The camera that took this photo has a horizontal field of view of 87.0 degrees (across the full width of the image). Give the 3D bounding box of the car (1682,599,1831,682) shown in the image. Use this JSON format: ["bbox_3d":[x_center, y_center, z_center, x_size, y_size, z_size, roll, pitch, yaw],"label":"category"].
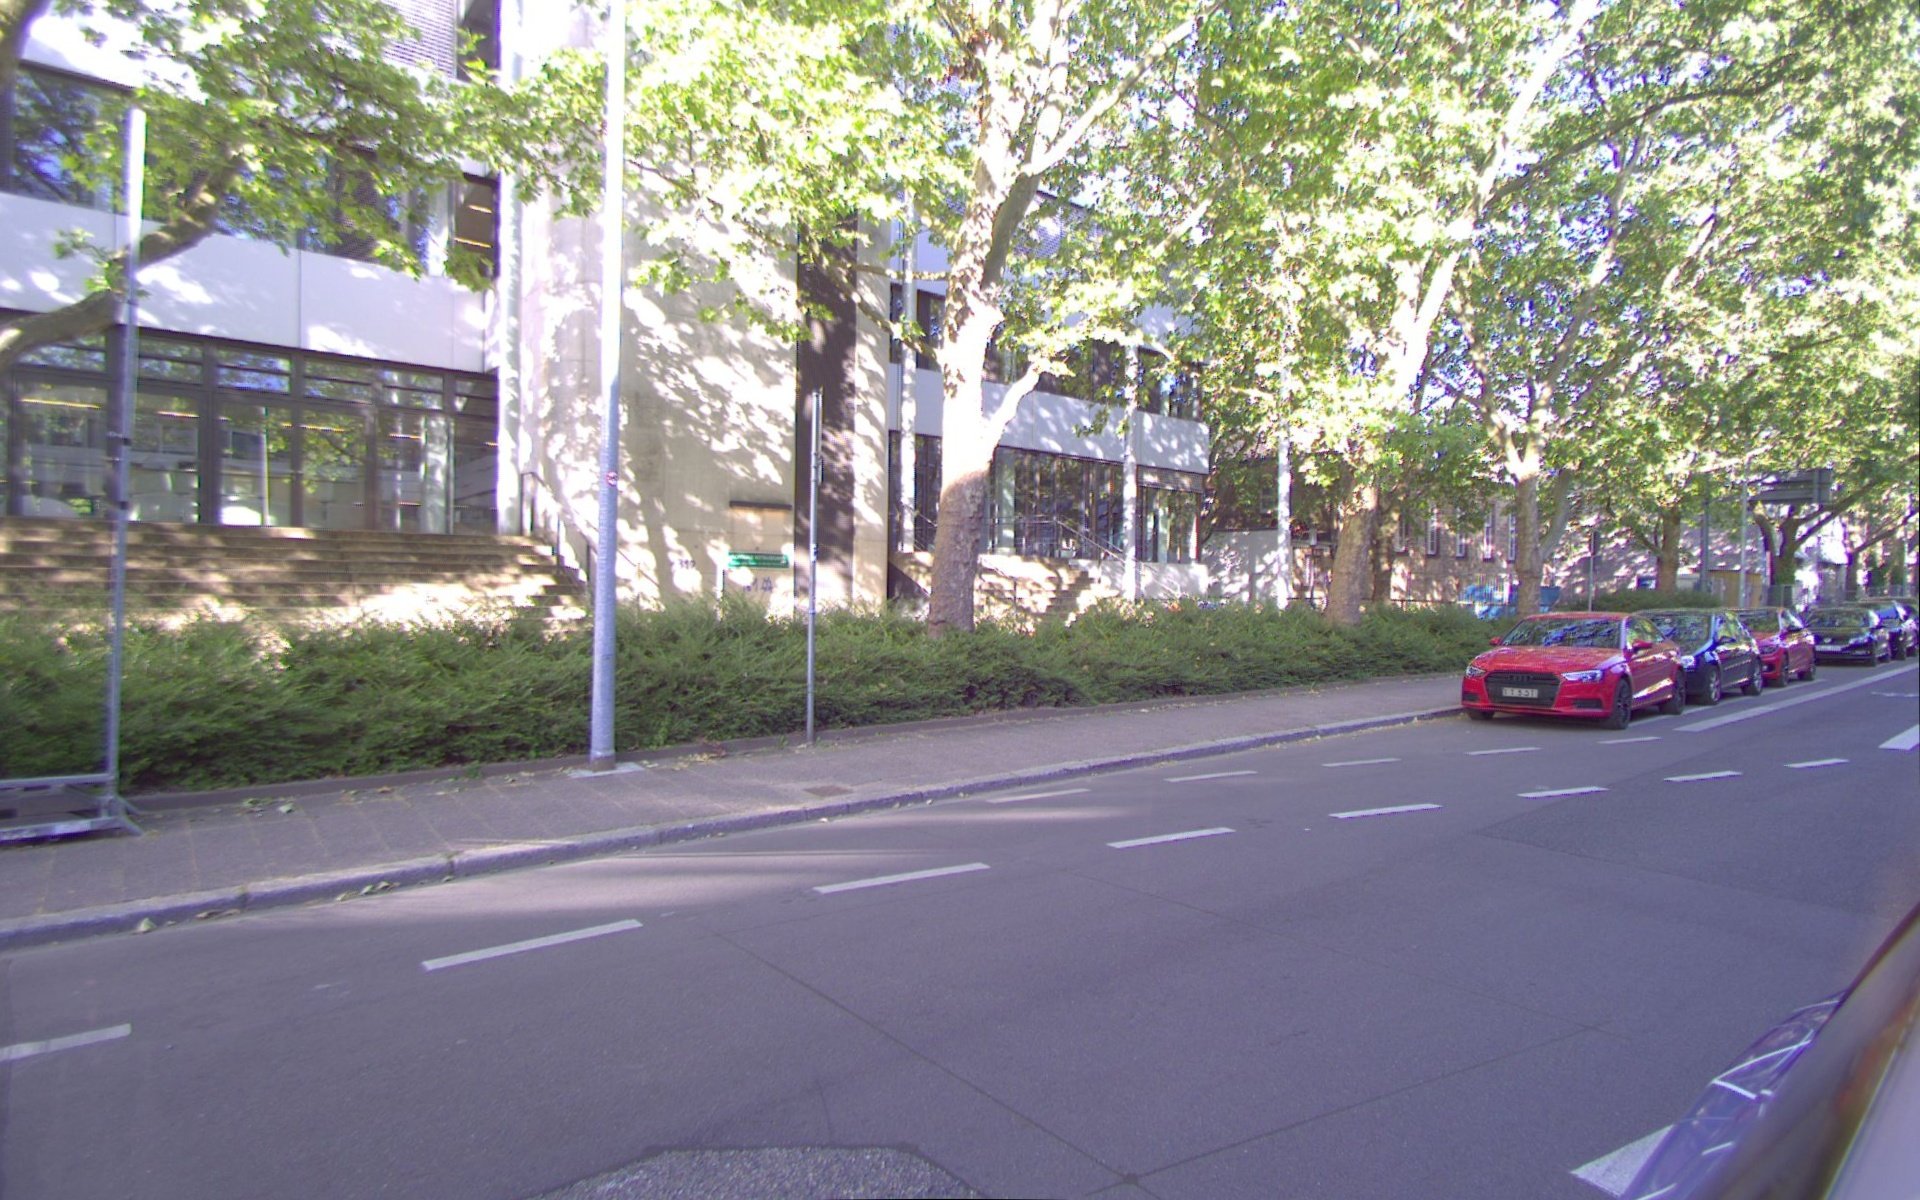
[{"bbox_3d":[15.748,0.724,19.957,3.674,1.483,1.634,0,-1,-41],"label":"car"}]

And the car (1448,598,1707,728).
[{"bbox_3d":[8.328,0.722,13.513,4.053,1.483,1.802,0,-1,-41],"label":"car"}]

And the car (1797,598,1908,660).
[{"bbox_3d":[22.948,0.697,25.981,3.674,1.483,1.634,0,-1,-41],"label":"car"}]

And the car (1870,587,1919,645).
[{"bbox_3d":[31.072,0.496,32.975,3.777,1.828,1.634,0,-1,-41],"label":"car"}]

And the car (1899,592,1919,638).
[{"bbox_3d":[35.902,0.531,37.204,3.777,1.675,1.634,0,-1,-41],"label":"car"}]

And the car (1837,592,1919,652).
[{"bbox_3d":[26.587,0.585,29.019,3.777,1.607,1.634,0,-1,-41],"label":"car"}]

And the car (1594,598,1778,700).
[{"bbox_3d":[11.952,0.718,16.594,3.674,1.483,1.634,0,-1,-41],"label":"car"}]
